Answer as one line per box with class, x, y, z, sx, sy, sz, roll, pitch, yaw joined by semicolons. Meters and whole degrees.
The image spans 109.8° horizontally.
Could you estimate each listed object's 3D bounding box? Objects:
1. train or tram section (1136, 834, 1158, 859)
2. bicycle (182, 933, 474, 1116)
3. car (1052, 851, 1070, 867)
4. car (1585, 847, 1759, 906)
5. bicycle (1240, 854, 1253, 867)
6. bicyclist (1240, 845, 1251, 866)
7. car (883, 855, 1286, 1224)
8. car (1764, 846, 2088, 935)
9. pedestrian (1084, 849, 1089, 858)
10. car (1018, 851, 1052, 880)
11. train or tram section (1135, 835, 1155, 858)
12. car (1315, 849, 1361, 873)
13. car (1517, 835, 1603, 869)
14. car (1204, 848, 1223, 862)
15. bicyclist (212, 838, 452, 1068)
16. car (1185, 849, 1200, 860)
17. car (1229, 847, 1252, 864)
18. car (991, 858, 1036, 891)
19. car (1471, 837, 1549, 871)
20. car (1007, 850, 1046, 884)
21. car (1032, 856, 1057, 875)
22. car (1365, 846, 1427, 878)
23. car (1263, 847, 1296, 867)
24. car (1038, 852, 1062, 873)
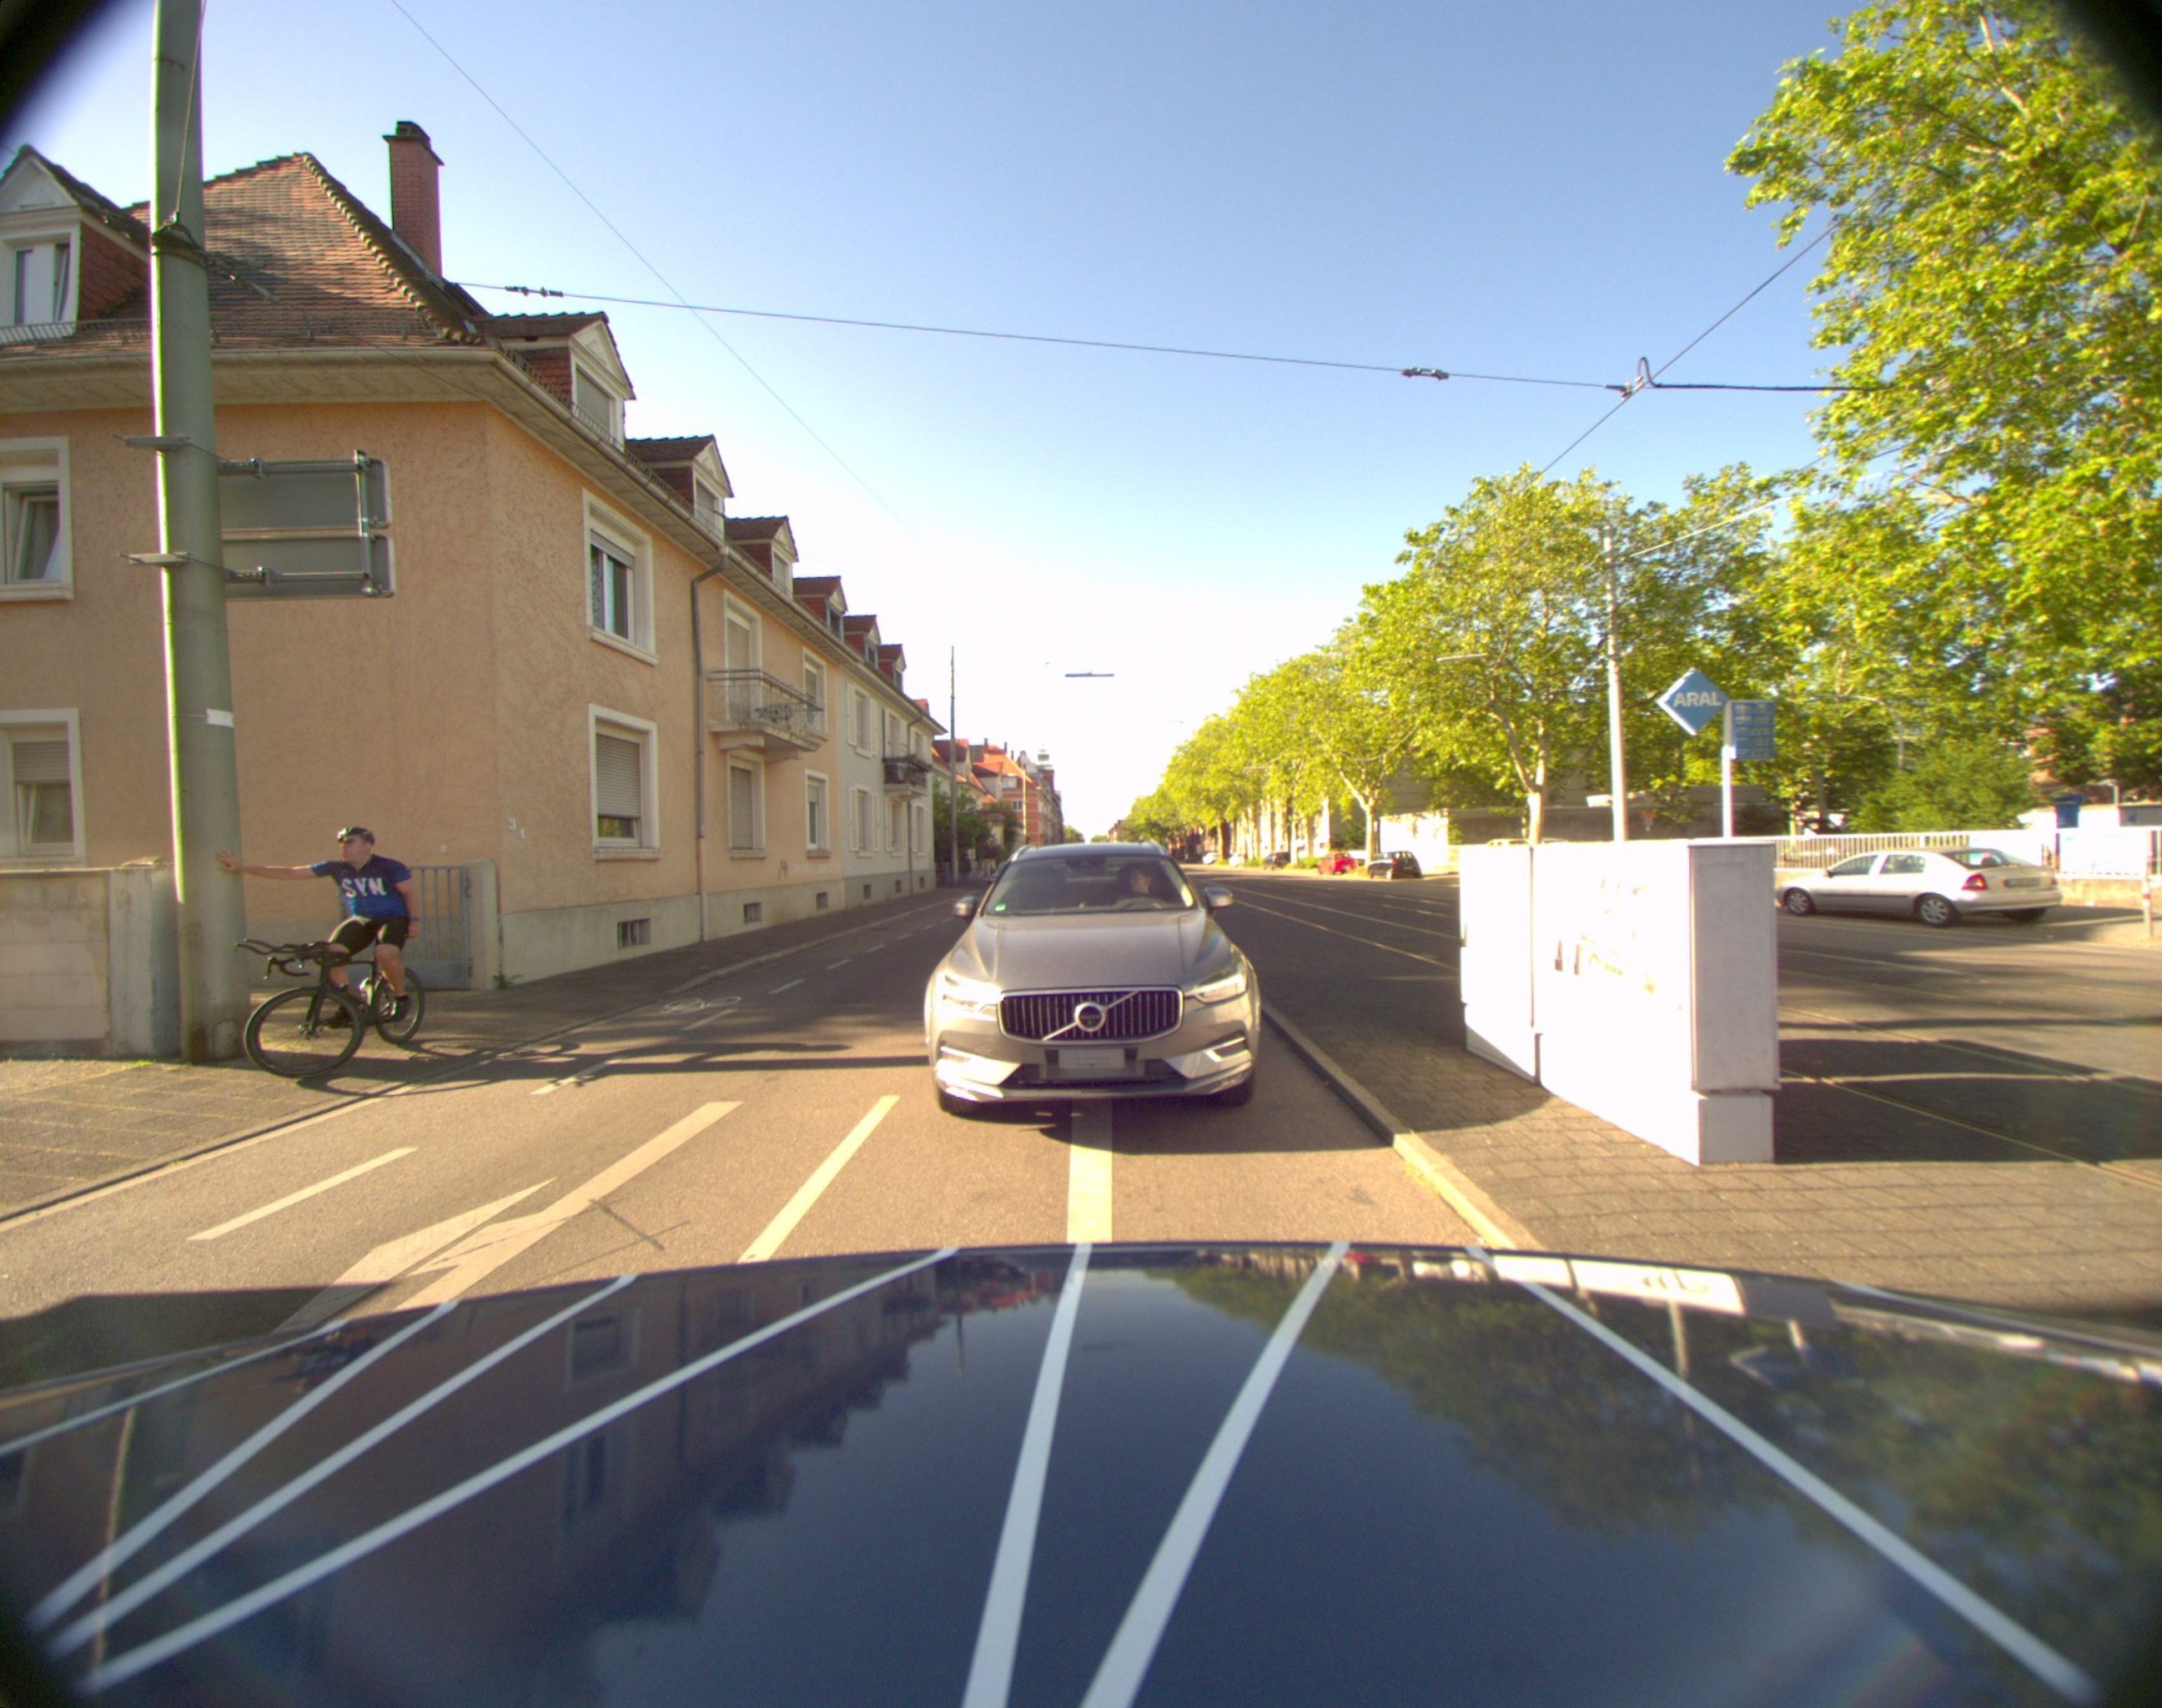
train or tram section;9.889;-1.100;114.632;2.861;3.456;10.183;-2;1;3
bicycle;-5.929;1.277;6.147;0.594;1.045;1.719;4;1;1
car;-2.242;0.552;85.480;1.999;1.641;4.658;-1;0;-1
car;16.517;0.569;21.546;1.845;1.400;4.138;-4;0;4
bicycle;15.245;0.582;70.131;0.654;1.114;2.533;-1;0;1
bicyclist;15.179;0.148;70.162;0.720;1.853;1.071;-1;1;0
car;0.000;0.890;5.784;1.892;1.695;4.318;-1;0;-1
car;16.235;0.619;14.973;1.846;1.400;3.999;-4;0;-1
pedestrian;1.315;-0.118;185.805;1.104;2.002;1.242;-1;1;1
car;-2.787;0.672;46.786;1.847;1.681;4.000;-1;0;0
train or tram section;10.420;-1.224;124.790;2.843;3.456;10.183;-2;1;3
car;16.962;0.447;50.307;1.845;1.400;4.001;-4;0;3
car;24.043;-0.109;38.333;1.845;1.524;4.000;-4;0;2
car;17.597;0.078;100.902;1.845;1.664;4.098;-4;0;3
bicyclist;-6.170;0.769;6.326;1.071;1.728;0.853;4;1;1
car;18.372;-0.005;125.406;1.845;1.664;4.098;-4;0;3
car;17.491;0.119;83.540;1.845;1.664;4.098;-4;0;3
car;-3.229;0.947;36.973;1.847;1.412;3.999;-1;0;-1
car;21.749;-0.025;38.710;1.845;1.524;4.001;-4;0;4
car;-2.964;0.687;42.237;1.847;1.742;4.144;-1;0;0
car;-2.878;0.861;60.403;1.808;1.402;3.999;-1;0;-1
car;16.967;0.410;41.083;1.845;1.524;4.001;-4;0;4
car;17.169;0.226;65.892;1.845;1.607;4.098;-4;0;3
car;-2.674;0.696;65.766;1.847;1.681;4.000;-1;0;0
